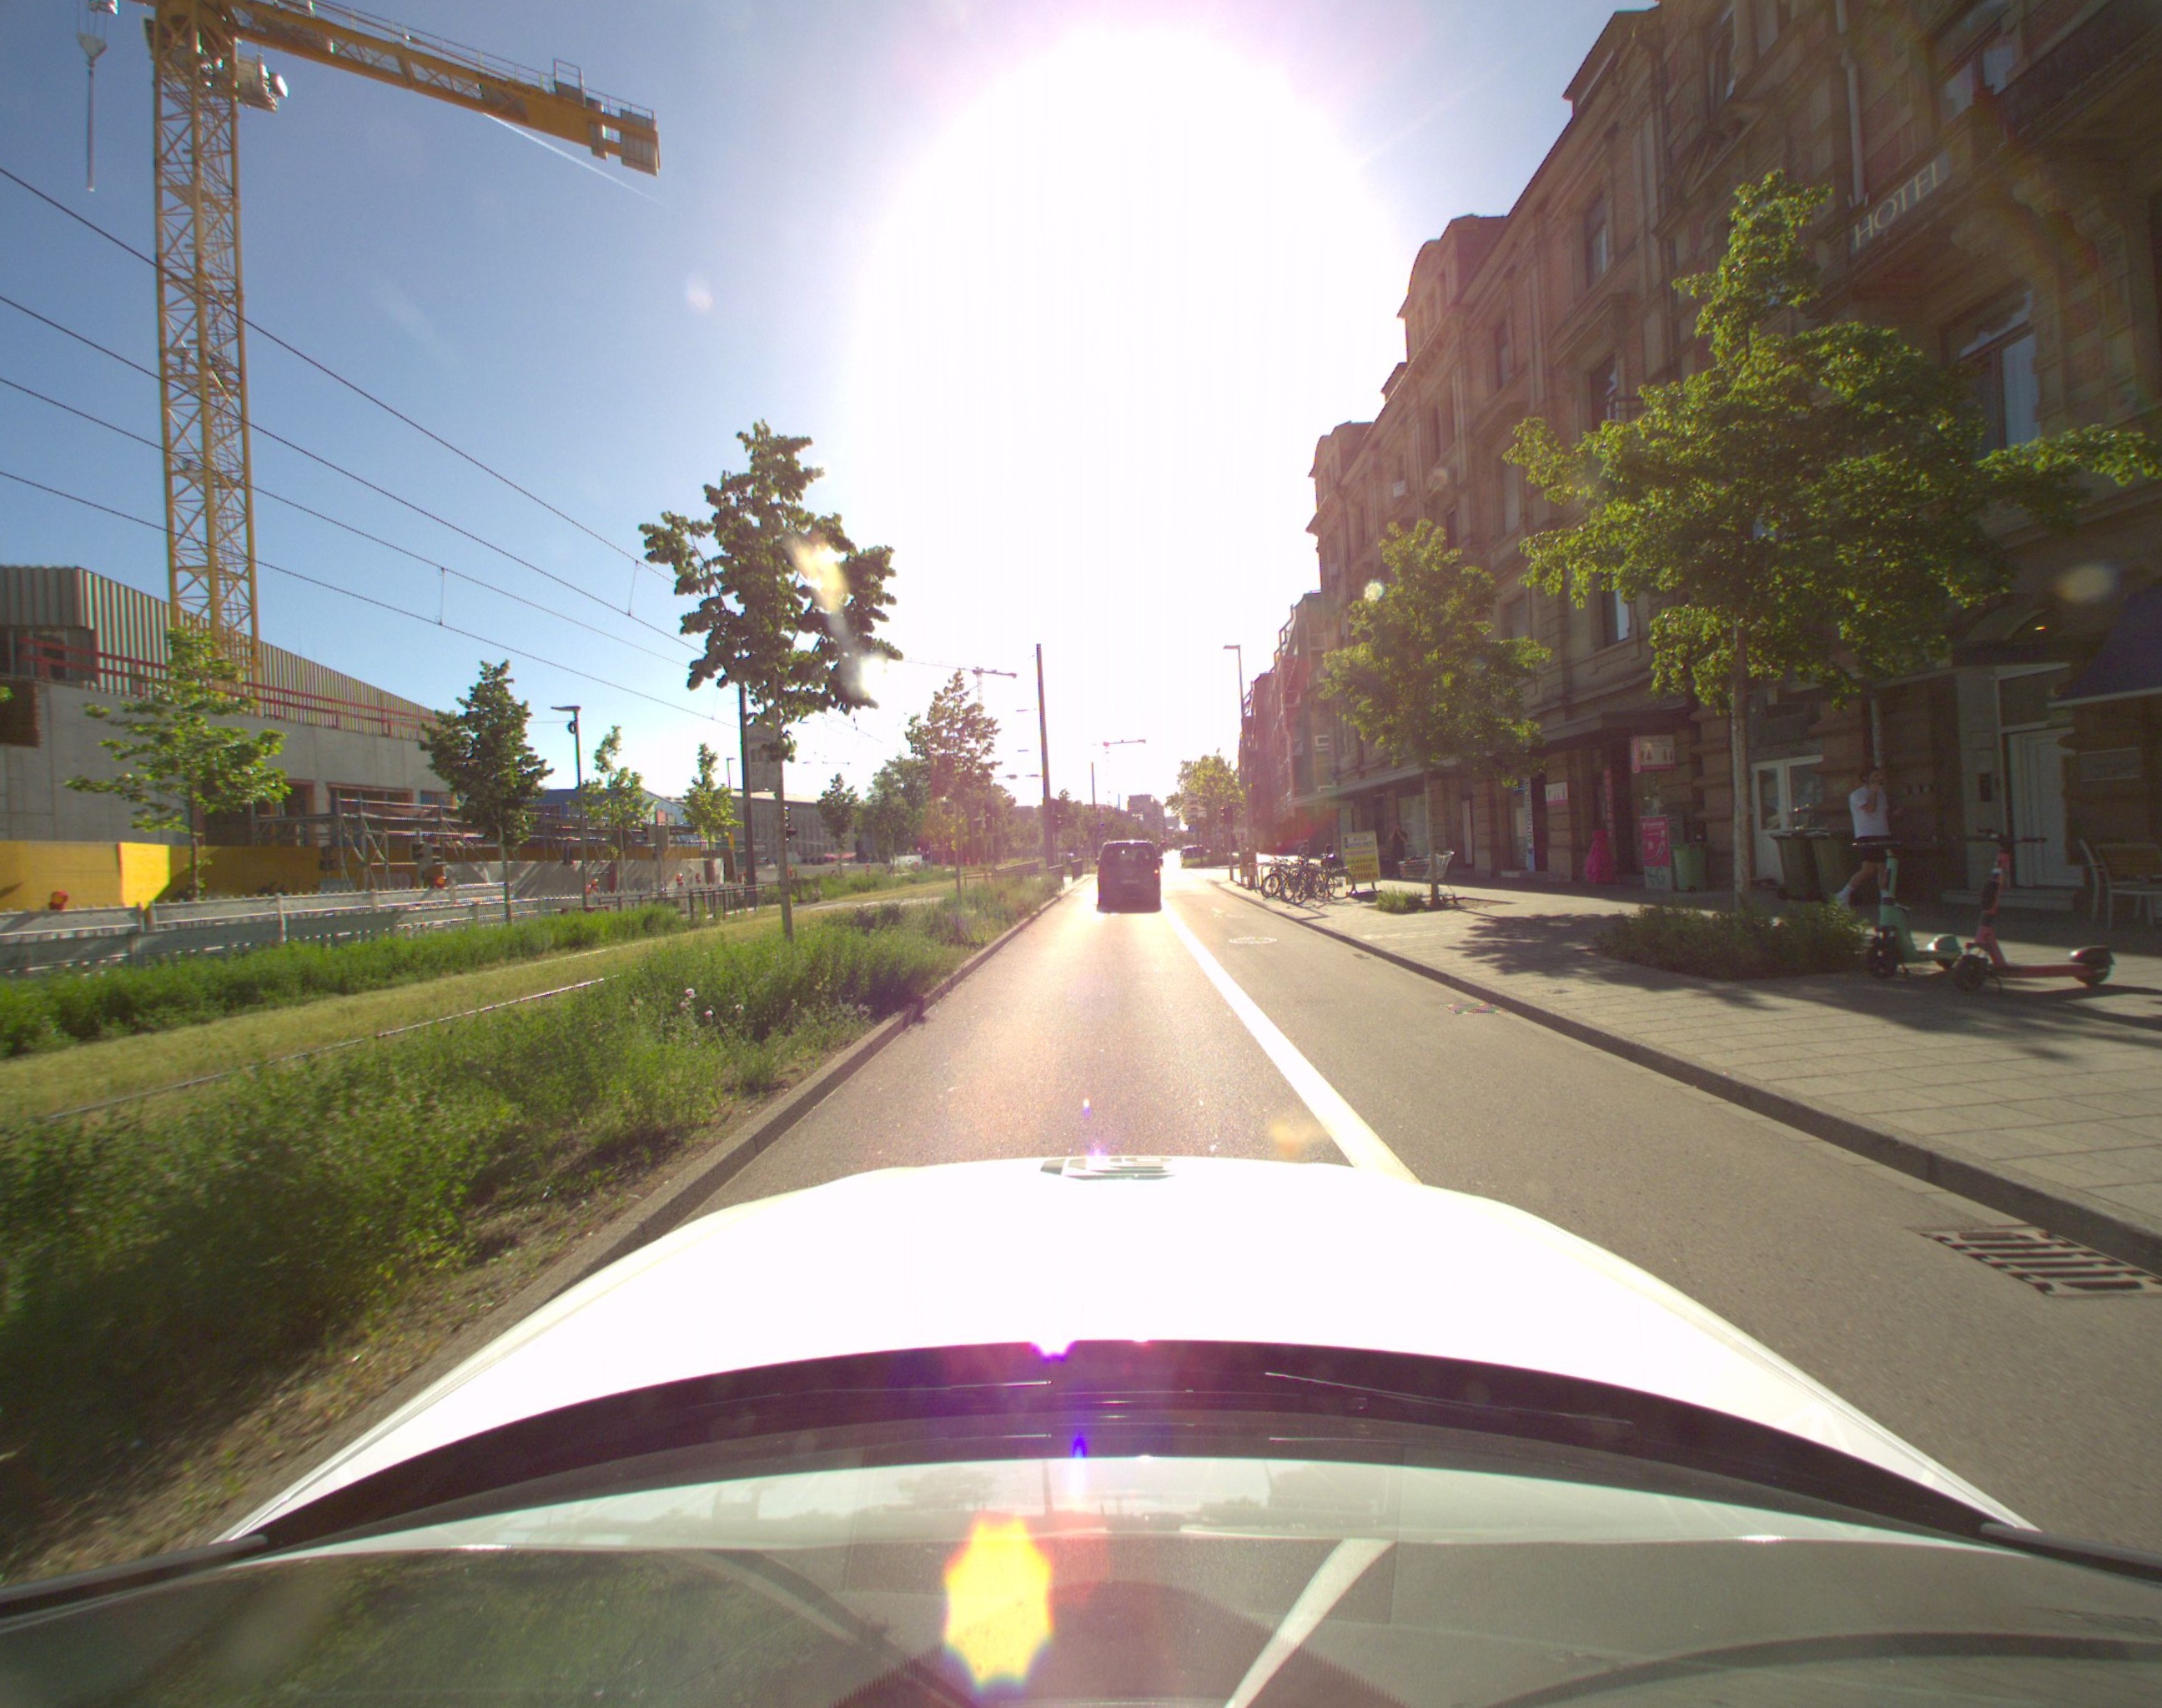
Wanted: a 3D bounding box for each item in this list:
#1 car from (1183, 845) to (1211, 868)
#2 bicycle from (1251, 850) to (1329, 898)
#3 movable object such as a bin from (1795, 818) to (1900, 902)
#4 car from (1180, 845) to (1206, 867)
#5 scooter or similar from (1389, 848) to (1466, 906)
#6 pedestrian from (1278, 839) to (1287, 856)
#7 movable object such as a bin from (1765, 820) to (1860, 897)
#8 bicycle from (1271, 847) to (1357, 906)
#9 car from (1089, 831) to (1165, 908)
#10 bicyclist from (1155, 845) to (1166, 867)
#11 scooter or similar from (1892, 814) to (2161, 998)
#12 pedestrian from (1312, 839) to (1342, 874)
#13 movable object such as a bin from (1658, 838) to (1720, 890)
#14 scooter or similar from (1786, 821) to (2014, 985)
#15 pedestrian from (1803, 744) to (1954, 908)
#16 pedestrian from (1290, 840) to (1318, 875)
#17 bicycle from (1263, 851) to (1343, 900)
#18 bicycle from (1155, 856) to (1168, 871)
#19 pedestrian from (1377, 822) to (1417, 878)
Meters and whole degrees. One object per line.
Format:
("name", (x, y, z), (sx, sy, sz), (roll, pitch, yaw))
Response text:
("car", (8.800, 0.234, 62.015), (1.978, 1.638, 4.196), (-2, -1, 6))
("bicycle", (5.869, 0.560, 22.901), (1.913, 1.121, 0.663), (-6, -1, -6))
("movable object such as a bin", (10.890, 0.079, 11.593), (0.724, 1.097, 0.746), (-5, 0, -4))
("car", (9.362, 0.179, 68.330), (2.011, 1.722, 4.125), (-2, -1, 6))
("scooter or similar", (7.207, 0.467, 16.990), (1.214, 1.106, 0.783), (-4, 0, 3))
("pedestrian", (20.251, -0.639, 81.813), (0.695, 1.652, 0.726), (-3, 0, 9))
("movable object such as a bin", (11.083, 0.064, 12.359), (0.723, 1.098, 0.746), (-2, 0, -4))
("bicycle", (5.669, 0.540, 19.851), (1.876, 1.233, 0.499), (-5, -1, -5))
("car", (1.308, 0.395, 23.966), (1.986, 2.013, 4.002), (-2, 0, 2))
("bicyclist", (5.996, 0.128, 61.182), (0.680, 1.584, 0.839), (-2, 0, 0))
("scooter or similar", (7.264, 0.370, 6.245), (1.470, 1.216, 0.601), (-5, 1, -3))
("pedestrian", (9.711, 0.101, 32.149), (0.829, 1.287, 1.008), (-5, 0, 2))
("movable object such as a bin", (11.111, 0.177, 14.890), (0.603, 0.916, 0.649), (-2, 0, -4))
("scooter or similar", (7.018, 0.389, 7.000), (1.473, 1.216, 0.600), (-5, 1, -10))
("pedestrian", (10.346, -0.326, 10.625), (0.815, 2.014, 1.046), (-2, -3, 1))
("pedestrian", (8.931, 0.149, 32.660), (0.700, 1.336, 1.012), (-7, -1, 2))
("bicycle", (5.825, 0.559, 21.385), (1.822, 1.078, 0.663), (-6, -1, -6))
("bicycle", (6.024, 0.713, 61.174), (0.699, 1.091, 2.277), (-2, 0, 1))
("pedestrian", (10.175, -0.127, 26.252), (0.841, 1.742, 0.887), (-4, -1, 1))
